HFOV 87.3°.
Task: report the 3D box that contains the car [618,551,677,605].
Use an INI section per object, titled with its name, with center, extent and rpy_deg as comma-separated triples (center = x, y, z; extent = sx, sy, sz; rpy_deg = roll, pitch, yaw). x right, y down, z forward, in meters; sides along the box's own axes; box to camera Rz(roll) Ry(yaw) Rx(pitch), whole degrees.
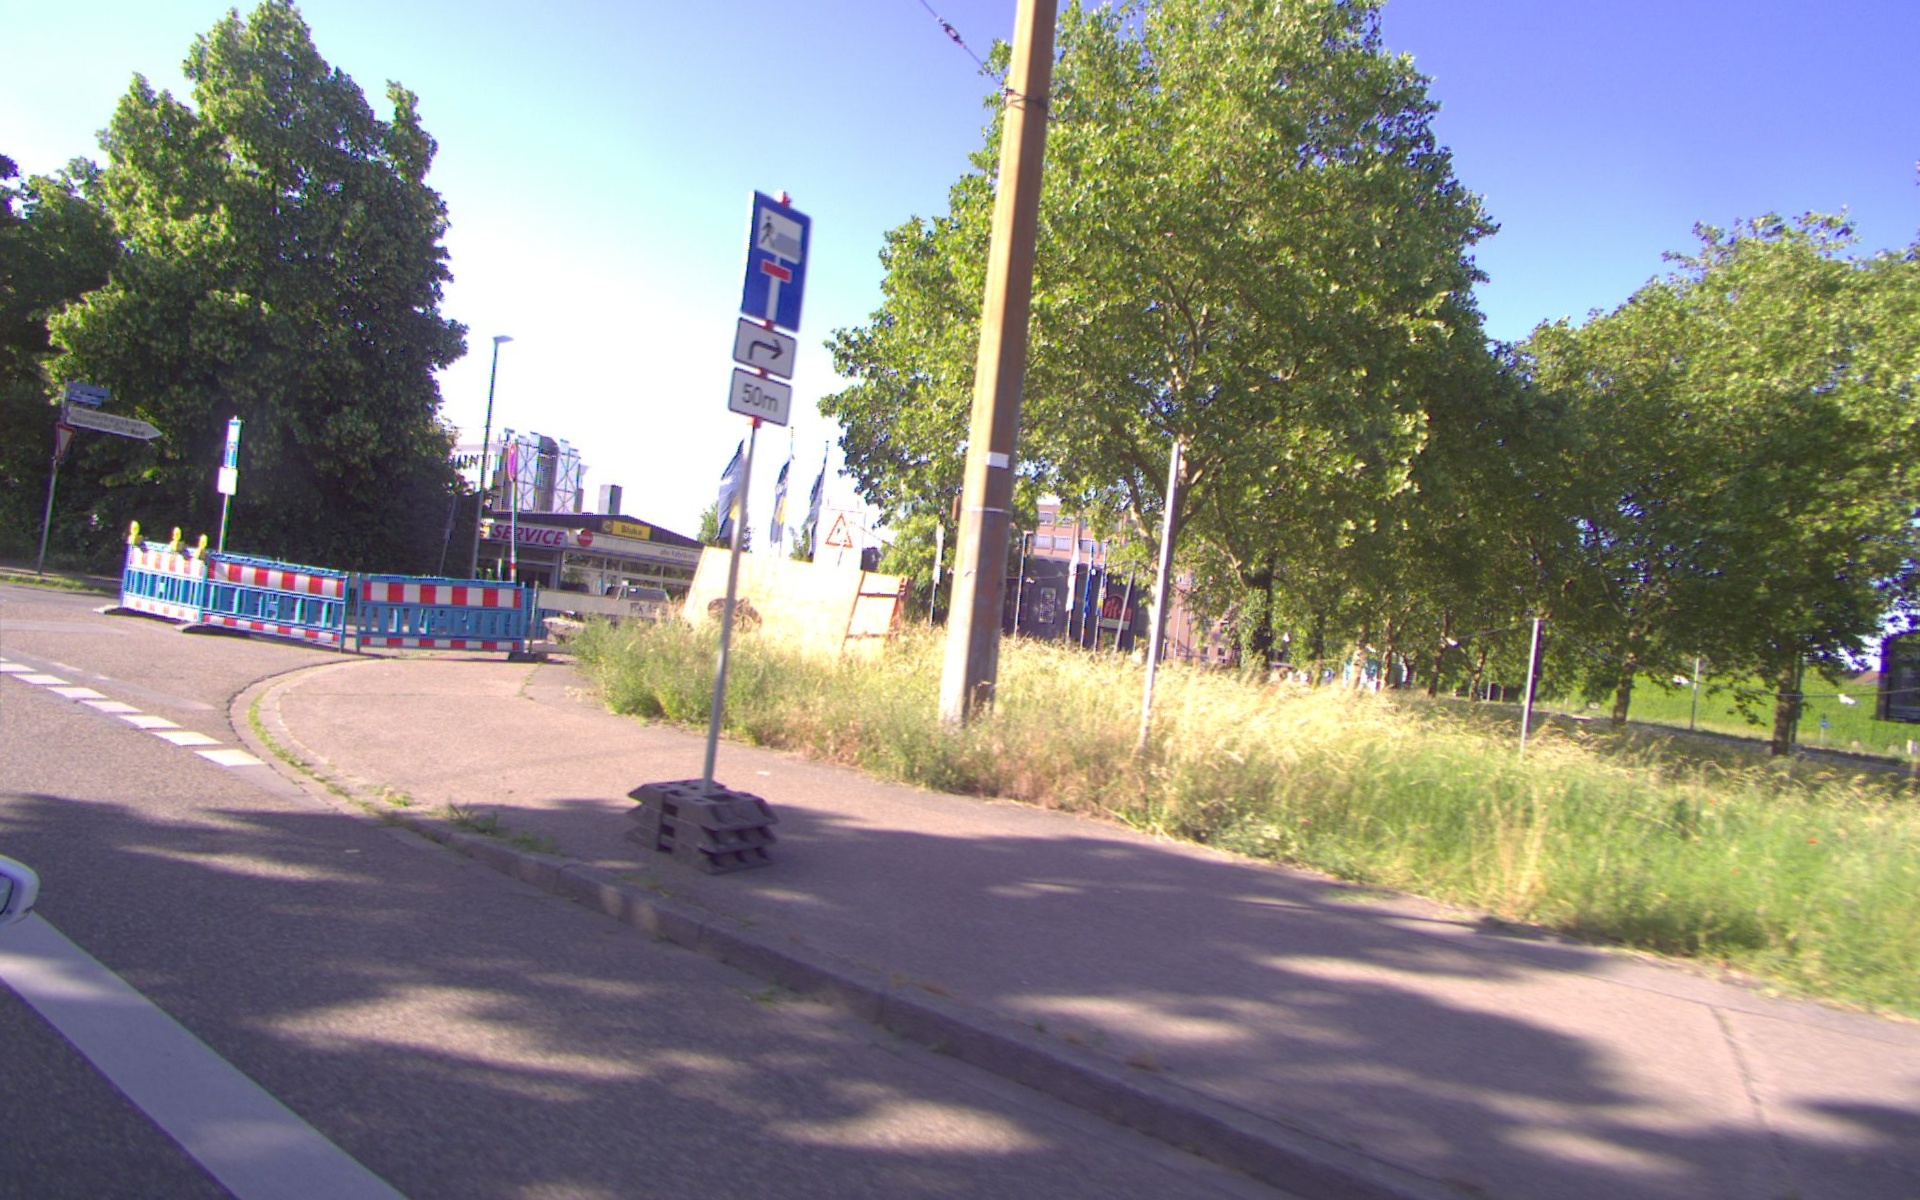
[car]
center = -11.639, -0.816, 37.293
extent = 1.665, 1.683, 3.755
rpy_deg = 7, -1, -21
